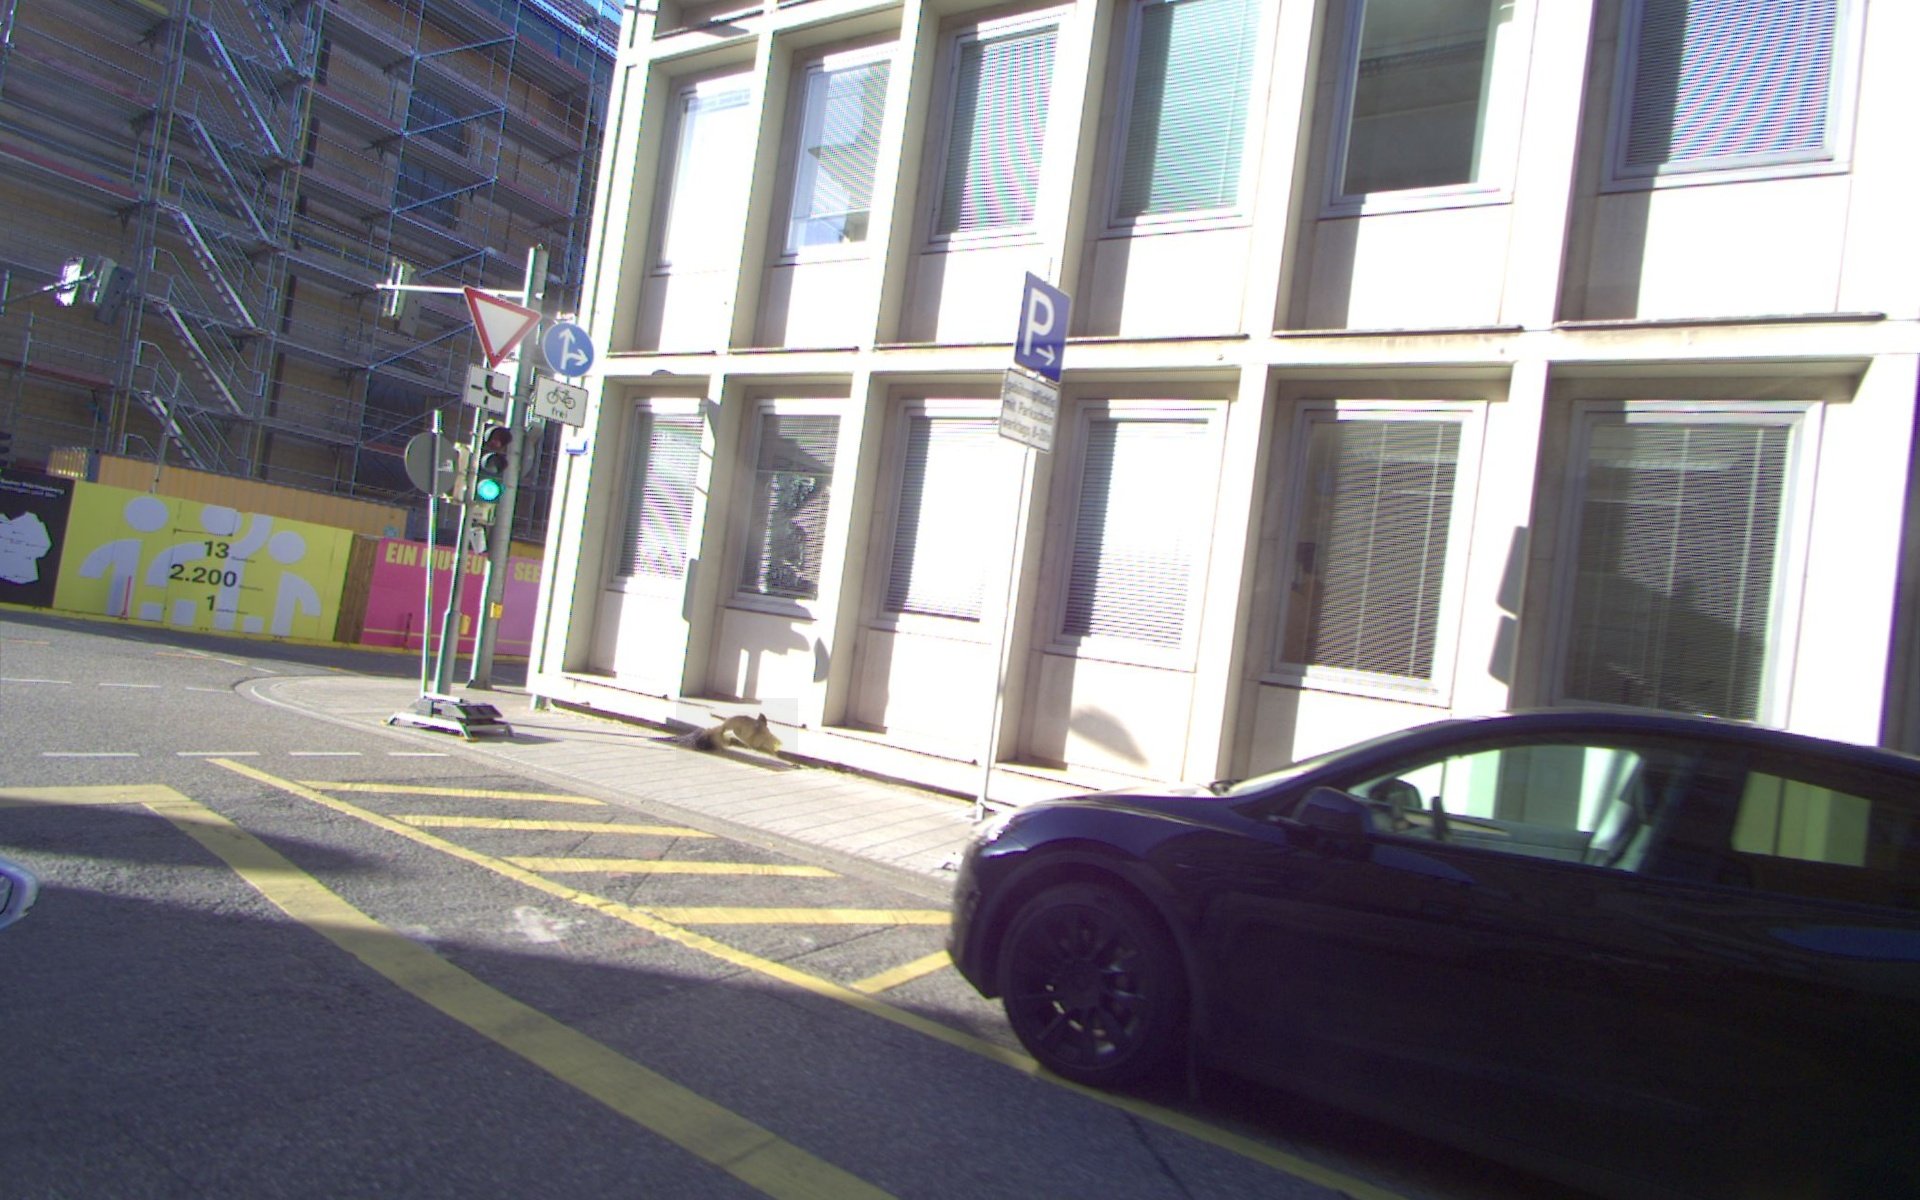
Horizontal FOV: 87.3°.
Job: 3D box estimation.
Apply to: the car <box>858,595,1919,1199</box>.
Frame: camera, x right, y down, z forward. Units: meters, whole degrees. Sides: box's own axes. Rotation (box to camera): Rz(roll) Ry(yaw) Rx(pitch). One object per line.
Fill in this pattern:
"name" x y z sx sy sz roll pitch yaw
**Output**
"car" 2.108 1.138 3.706 4.543 1.642 1.899 7 -3 31
